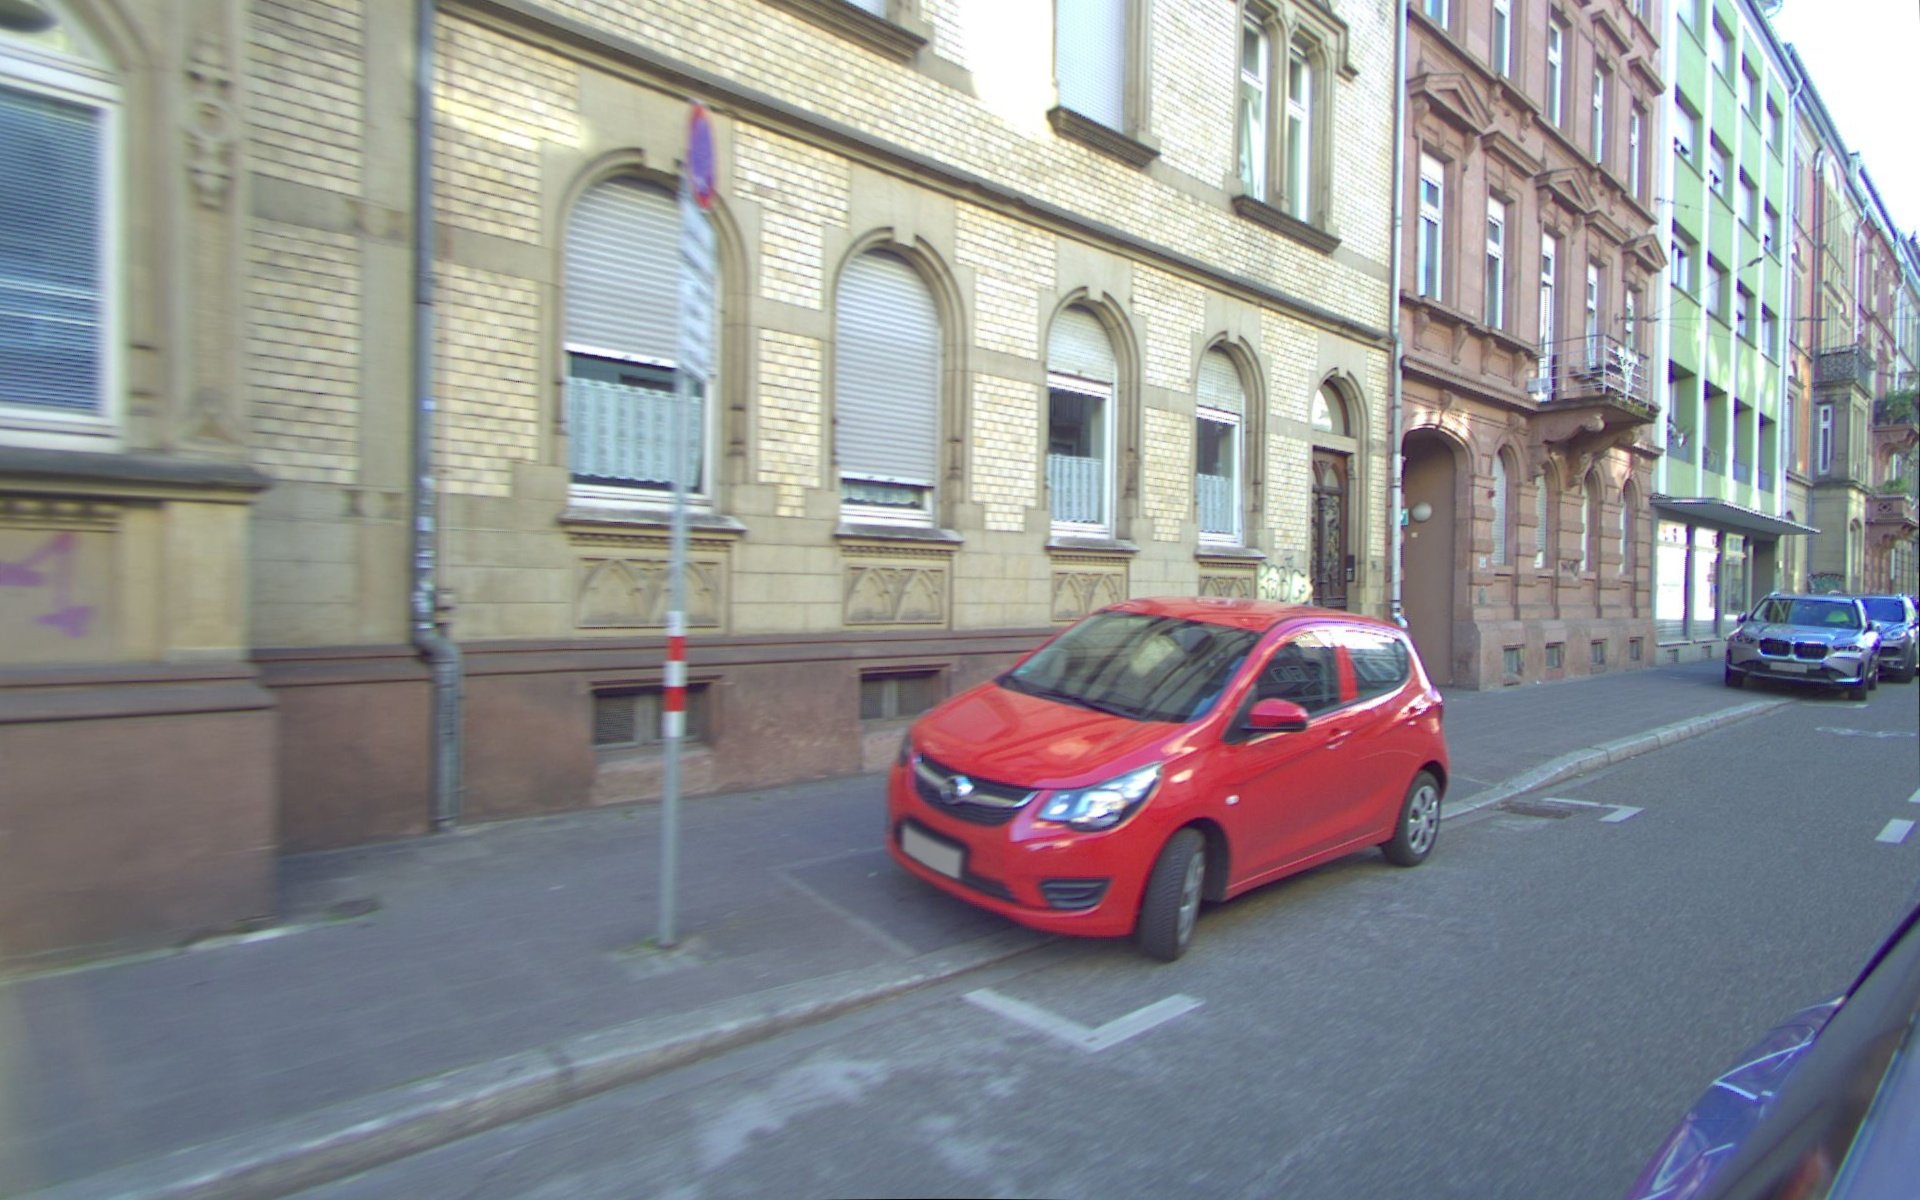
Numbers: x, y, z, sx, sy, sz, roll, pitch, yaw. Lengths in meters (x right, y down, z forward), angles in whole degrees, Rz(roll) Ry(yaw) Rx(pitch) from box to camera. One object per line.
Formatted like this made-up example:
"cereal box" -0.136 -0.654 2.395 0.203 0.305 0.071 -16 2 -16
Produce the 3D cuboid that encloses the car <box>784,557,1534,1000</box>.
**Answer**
"car" 1.382 0.588 5.715 4.325 1.500 1.870 -1 4 -41

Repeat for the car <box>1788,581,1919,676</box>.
"car" 18.885 0.501 20.853 4.703 1.635 1.998 -1 5 -41

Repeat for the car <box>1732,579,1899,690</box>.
"car" 14.742 0.488 17.351 1.866 1.667 4.330 0 1 45
